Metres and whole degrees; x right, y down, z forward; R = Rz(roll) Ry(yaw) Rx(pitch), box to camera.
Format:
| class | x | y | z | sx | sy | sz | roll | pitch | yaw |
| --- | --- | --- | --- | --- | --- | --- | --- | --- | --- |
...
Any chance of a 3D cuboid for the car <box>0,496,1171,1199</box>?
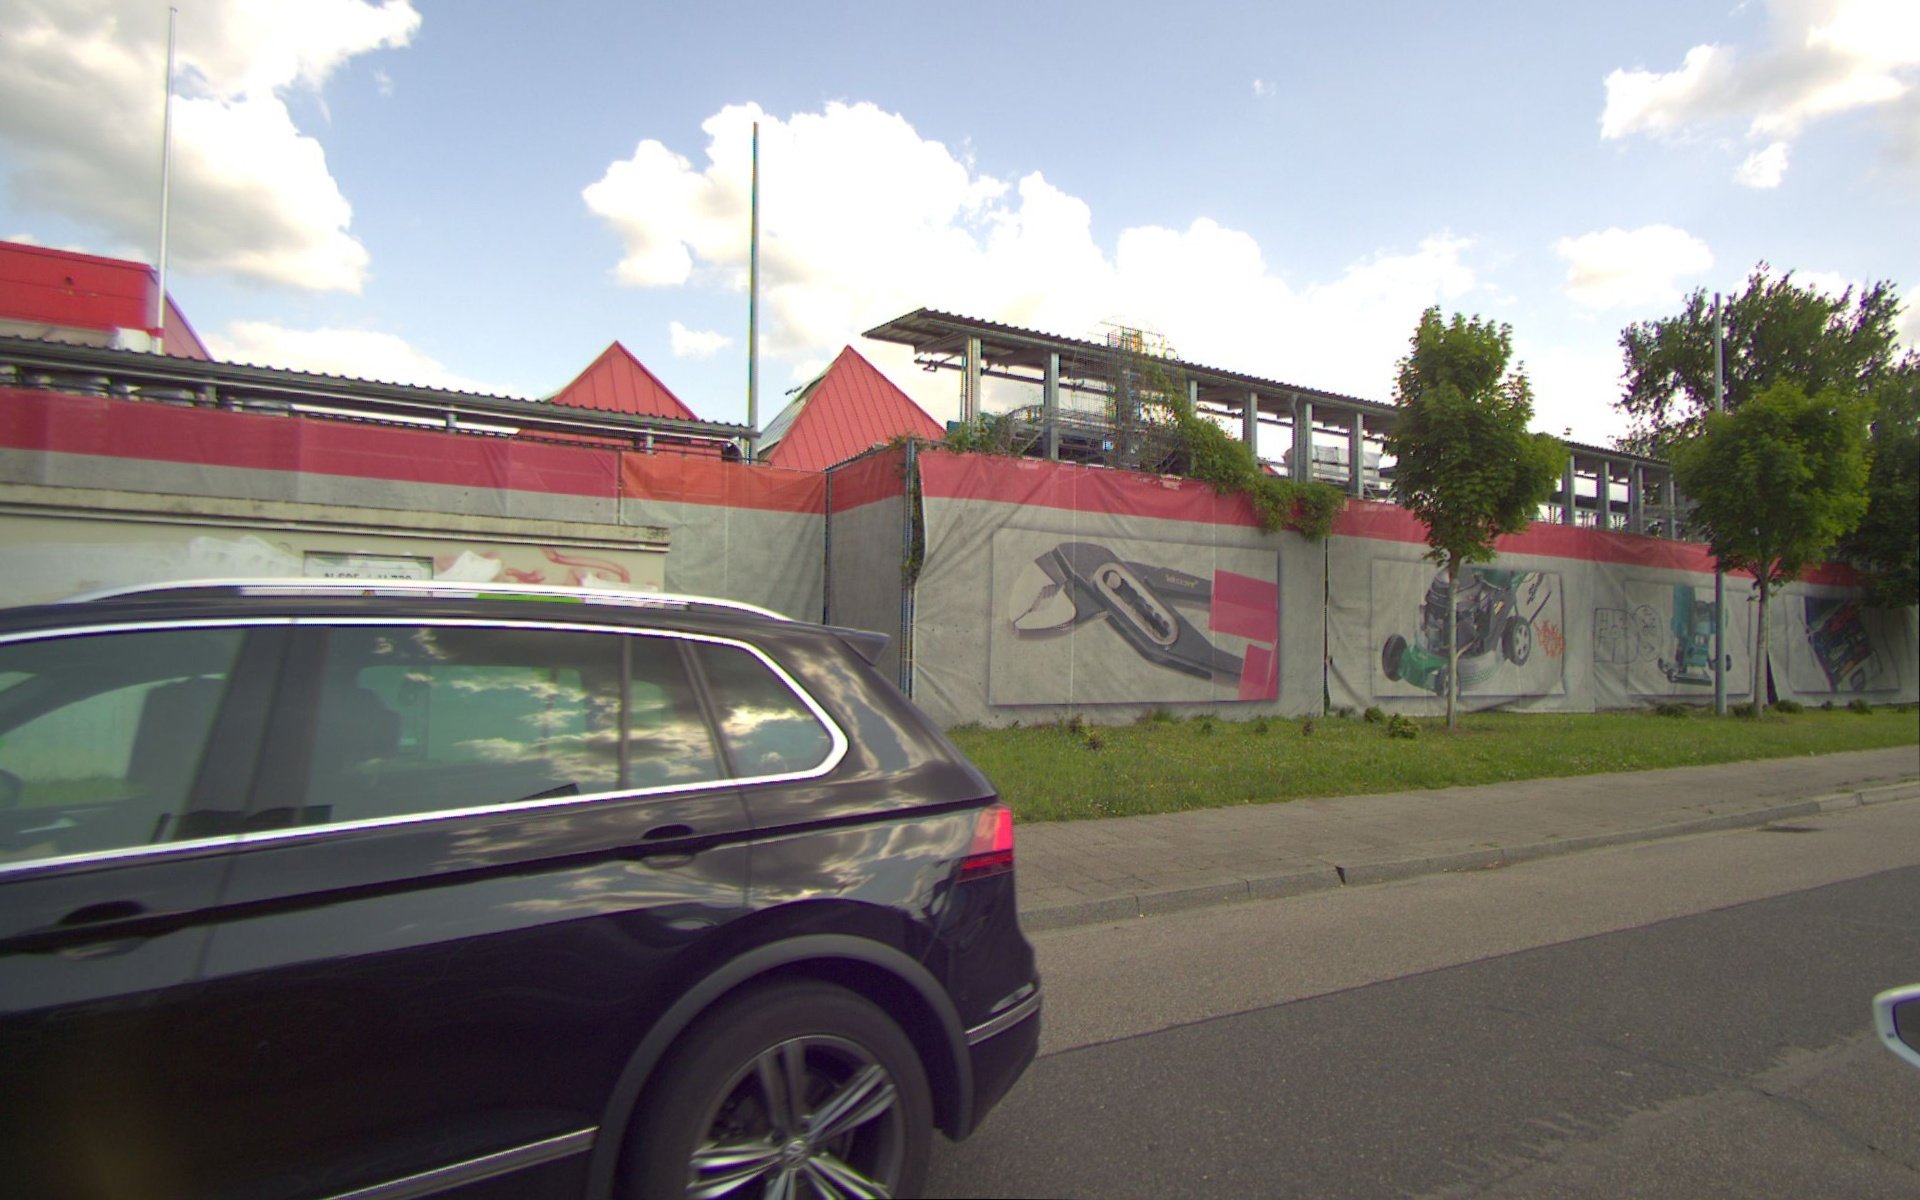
| class | x | y | z | sx | sy | sz | roll | pitch | yaw |
| --- | --- | --- | --- | --- | --- | --- | --- | --- | --- |
| car | -1.761 | 0.751 | 2.410 | 4.242 | 1.640 | 1.867 | 2 | -6 | -29 |
